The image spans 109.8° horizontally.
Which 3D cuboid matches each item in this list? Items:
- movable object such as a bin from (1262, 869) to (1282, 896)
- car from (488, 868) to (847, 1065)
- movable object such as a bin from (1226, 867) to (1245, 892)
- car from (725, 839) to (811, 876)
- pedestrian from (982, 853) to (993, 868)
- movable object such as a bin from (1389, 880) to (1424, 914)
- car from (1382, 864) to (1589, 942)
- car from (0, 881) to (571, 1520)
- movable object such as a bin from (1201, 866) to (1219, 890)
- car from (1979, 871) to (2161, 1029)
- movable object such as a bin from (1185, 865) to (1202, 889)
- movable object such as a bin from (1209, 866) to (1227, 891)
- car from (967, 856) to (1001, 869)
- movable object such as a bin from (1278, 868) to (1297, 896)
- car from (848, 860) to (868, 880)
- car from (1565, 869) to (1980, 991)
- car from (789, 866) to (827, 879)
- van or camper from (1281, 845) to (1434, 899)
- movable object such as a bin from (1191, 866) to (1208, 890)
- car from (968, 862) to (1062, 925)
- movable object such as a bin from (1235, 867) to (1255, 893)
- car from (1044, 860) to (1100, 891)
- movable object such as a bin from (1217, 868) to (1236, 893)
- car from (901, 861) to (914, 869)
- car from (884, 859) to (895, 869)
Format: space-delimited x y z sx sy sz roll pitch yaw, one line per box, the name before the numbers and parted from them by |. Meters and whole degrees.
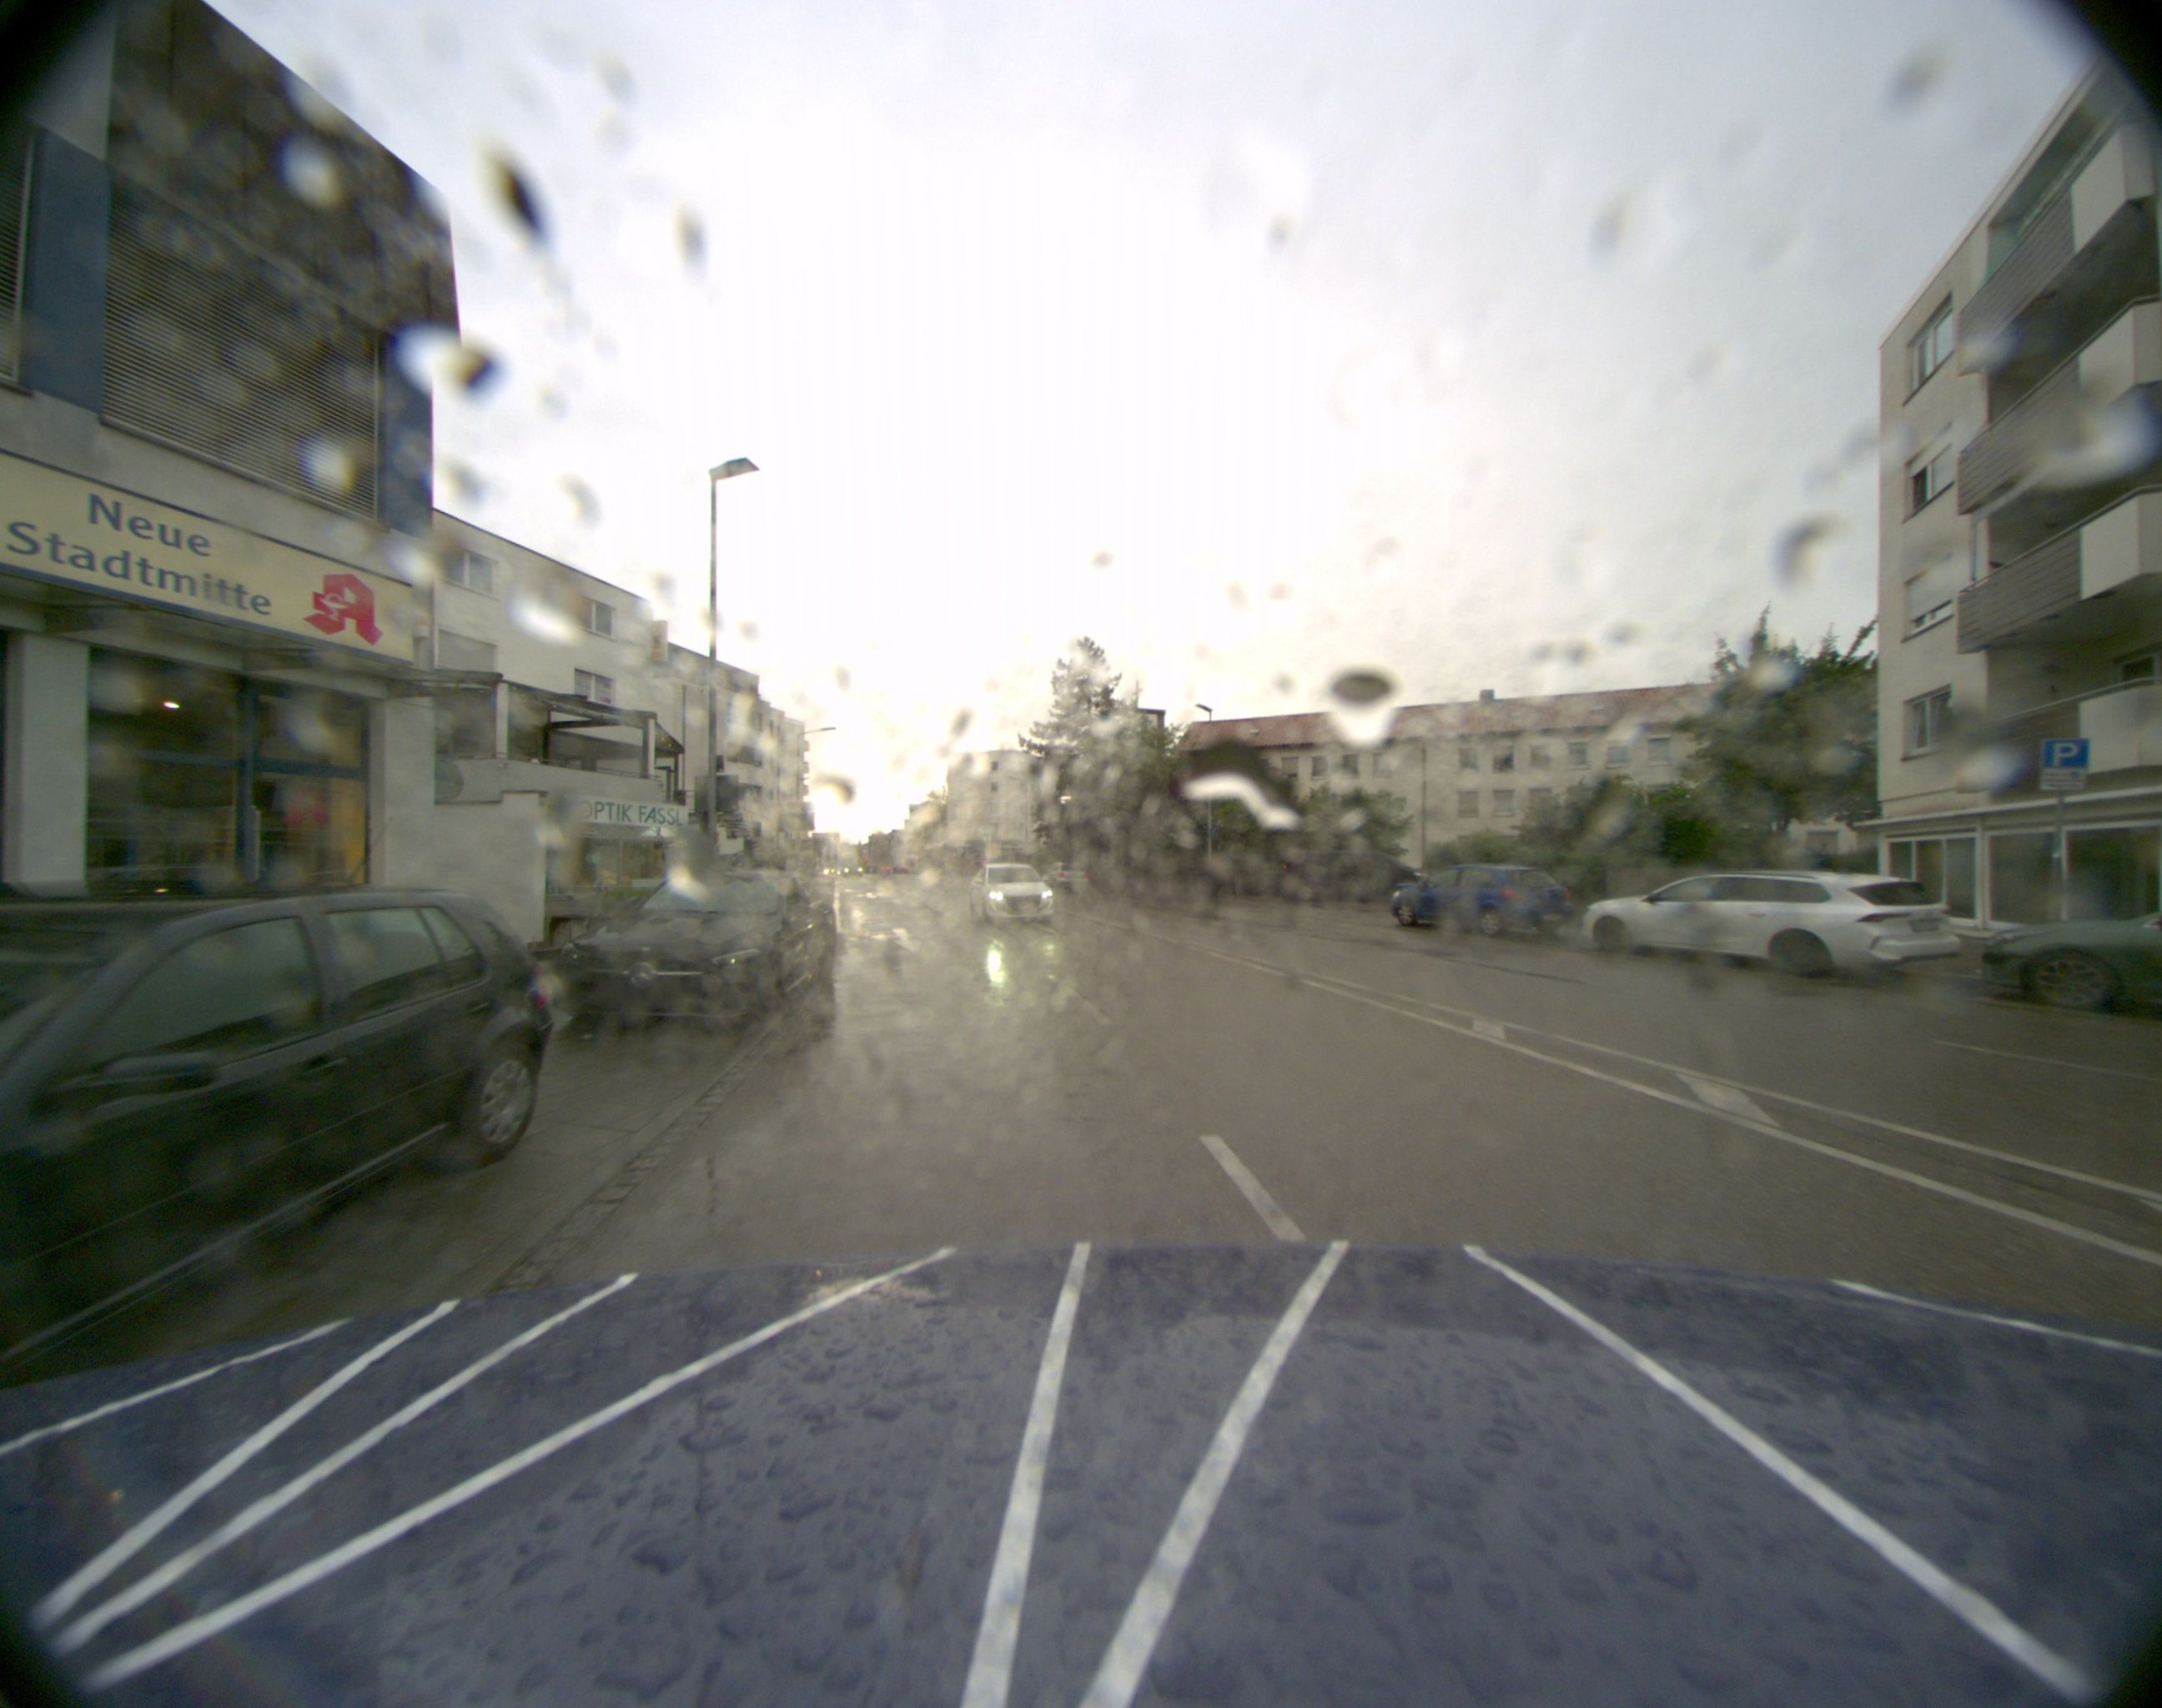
movable object such as a bin | 8.130 1.194 32.355 0.599 1.111 0.602 0 0 38
car | -4.112 0.962 8.620 2.000 1.524 4.644 -1 0 -7
movable object such as a bin | 6.854 1.133 33.740 0.602 1.111 0.600 0 0 -29
car | -17.636 0.203 43.081 1.996 2.001 4.785 0 0 16
pedestrian | -9.567 0.662 77.827 0.873 1.597 1.101 -1 1 -25
movable object such as a bin | 9.457 1.239 22.114 0.650 0.960 0.681 0 0 -16
car | 9.027 1.000 17.416 1.658 1.512 4.318 -1 0 -16
car | -3.628 0.917 2.376 1.703 1.477 3.997 3 -1 -7
movable object such as a bin | 6.014 1.128 35.406 0.602 1.111 0.600 0 0 -19
car | 11.981 0.967 6.925 1.942 1.532 4.514 0 0 -16
movable object such as a bin | 5.418 1.103 36.525 0.602 1.112 0.600 0 1 -19
movable object such as a bin | 6.281 1.126 34.831 0.602 1.111 0.600 0 0 -29
car | -11.666 0.957 91.545 1.995 1.537 4.479 0 0 24
movable object such as a bin | 8.678 1.170 31.953 0.599 1.111 0.602 0 0 38
car | -22.959 1.626 78.306 2.001 2.001 3.995 0 -2 -16
car | 10.411 0.999 12.037 1.700 1.455 4.677 0 0 -16
car | -35.182 2.396 97.941 4.264 1.485 1.875 -1 -2 10
van or camper | 10.492 0.726 28.987 5.204 1.913 2.004 -2 -2 29
movable object such as a bin | 5.616 1.107 35.935 0.602 1.112 0.600 0 0 -19
car | -1.862 0.987 20.034 1.832 1.431 4.341 -1 -1 -13
movable object such as a bin | 7.170 1.116 33.200 0.602 1.111 0.600 0 0 -29
car | -0.511 1.053 37.833 1.832 1.431 3.836 2 -1 -15
movable object such as a bin | 6.567 1.179 34.292 0.602 1.111 0.600 0 0 -29
car | -31.408 2.026 137.293 1.705 1.400 3.994 2 -2 -21
car | -34.285 1.798 136.236 1.809 1.547 4.314 -1 -1 -15
